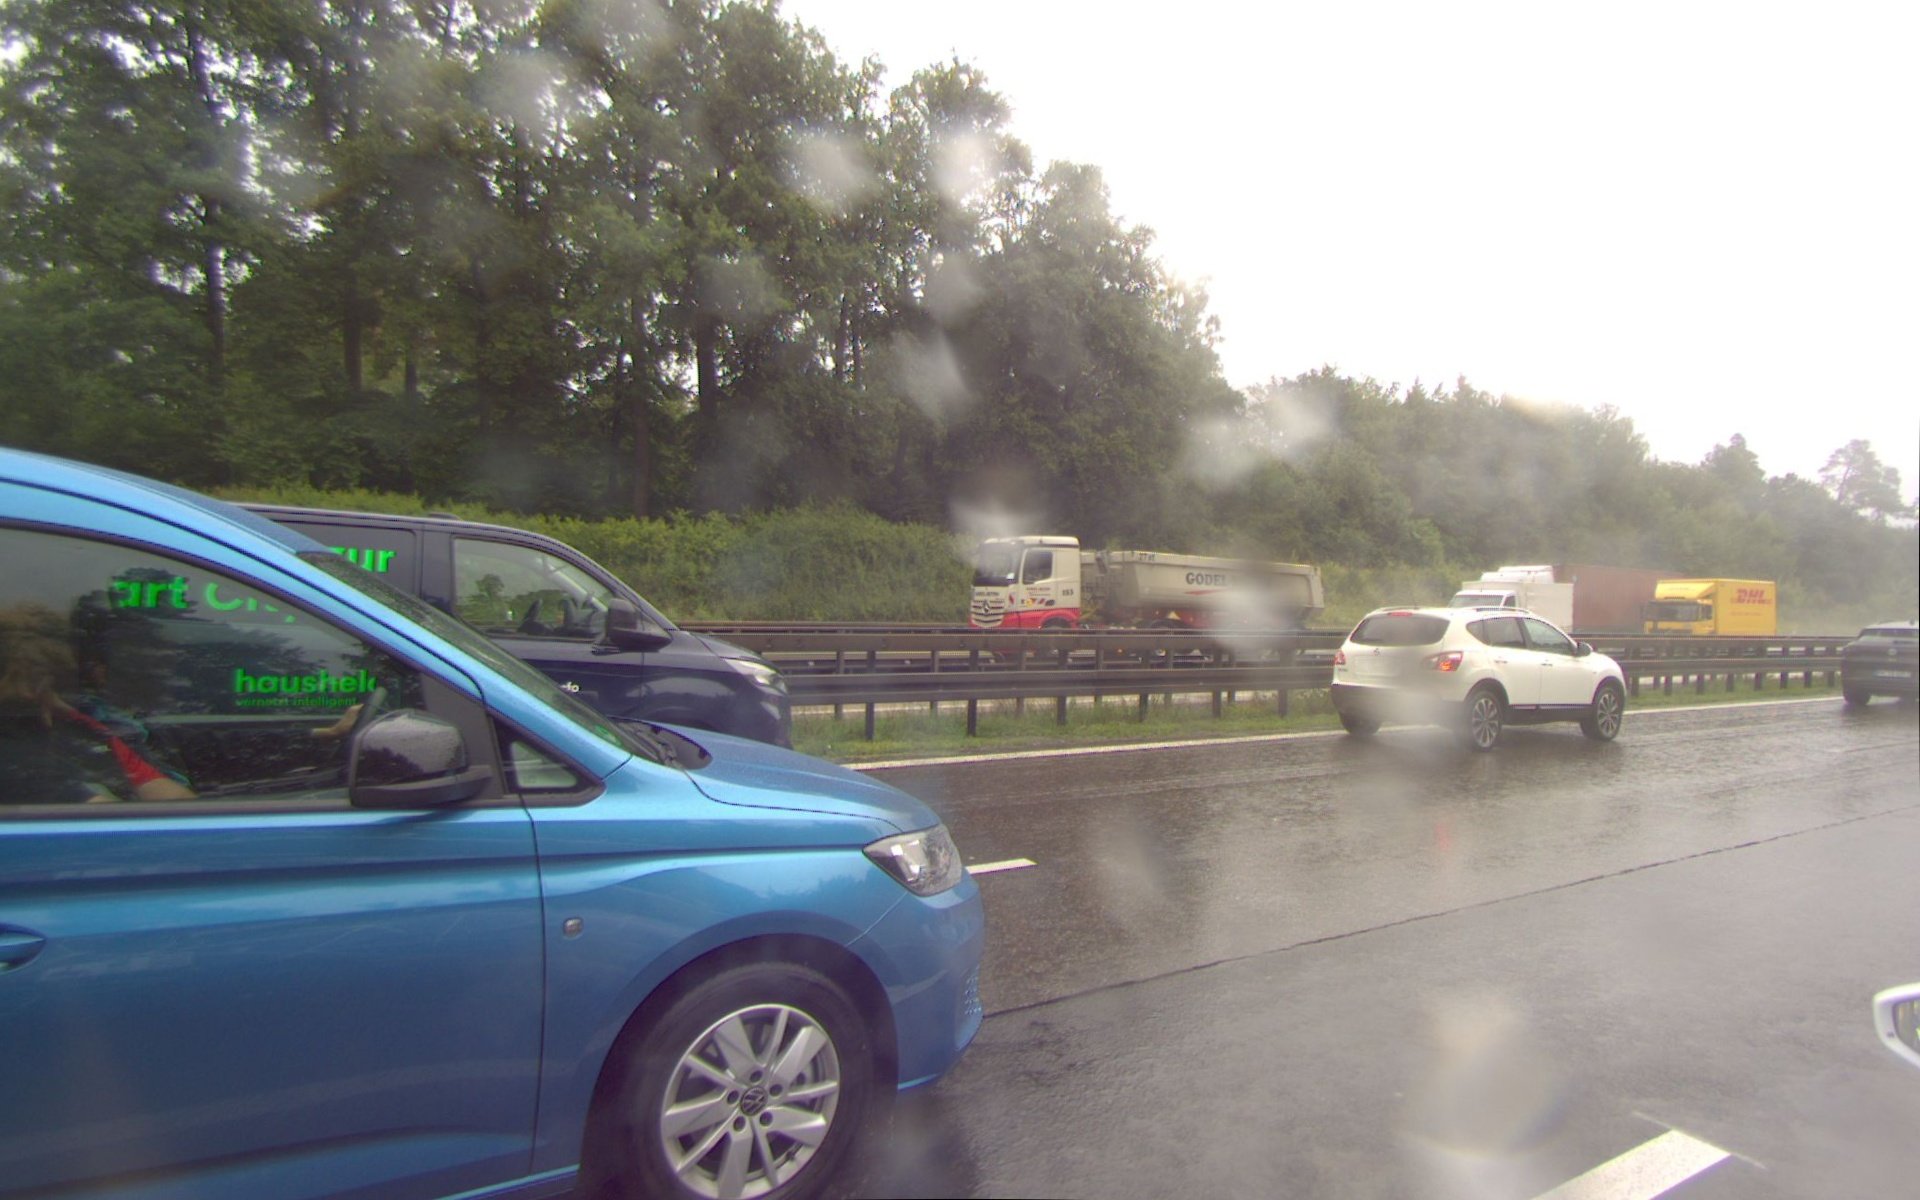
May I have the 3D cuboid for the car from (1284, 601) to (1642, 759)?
[{"bbox_3d":[6.223,0.854,12.303,4.415,1.613,1.836,1,0,-31],"label":"car"}]

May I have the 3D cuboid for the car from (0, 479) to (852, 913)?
[{"bbox_3d":[-3.449,0.464,6.161,5.177,1.970,1.983,1,0,-28],"label":"car"}]

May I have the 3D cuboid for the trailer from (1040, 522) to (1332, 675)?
[{"bbox_3d":[6.870,0.079,29.654,9.312,4.006,2.366,1,-1,-31],"label":"trailer"}]

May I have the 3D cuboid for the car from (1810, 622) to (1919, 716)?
[{"bbox_3d":[18.576,1.265,19.481,4.414,1.613,1.837,1,0,-30],"label":"car"}]

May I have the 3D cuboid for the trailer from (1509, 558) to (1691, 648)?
[{"bbox_3d":[32.042,0.256,49.993,12.235,4.079,2.605,1,0,-32],"label":"trailer"}]

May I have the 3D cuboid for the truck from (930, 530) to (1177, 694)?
[{"bbox_3d":[2.606,0.372,27.129,6.461,4.006,2.366,1,-1,-31],"label":"truck"}]

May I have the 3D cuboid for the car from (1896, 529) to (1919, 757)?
[{"bbox_3d":[13.579,0.534,11.989,4.957,2.607,2.202,1,0,-31],"label":"car"}]

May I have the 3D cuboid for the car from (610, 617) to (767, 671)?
[{"bbox_3d":[-7.371,1.172,27.210,3.941,1.362,1.799,1,-1,-22],"label":"car"}]

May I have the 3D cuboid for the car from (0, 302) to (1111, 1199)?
[{"bbox_3d":[-2.307,0.480,2.484,4.953,1.937,2.260,1,0,-29],"label":"car"}]

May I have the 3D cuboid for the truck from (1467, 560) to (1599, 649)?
[{"bbox_3d":[26.637,0.236,46.614,6.194,3.869,2.689,1,0,-32],"label":"truck"}]

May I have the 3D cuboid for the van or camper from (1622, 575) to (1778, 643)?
[{"bbox_3d":[35.028,0.472,47.438,8.686,3.018,2.828,1,0,-31],"label":"van or camper"}]

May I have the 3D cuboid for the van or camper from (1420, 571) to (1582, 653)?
[{"bbox_3d":[18.474,0.413,34.202,6.050,2.581,2.186,1,-1,-32],"label":"van or camper"}]
